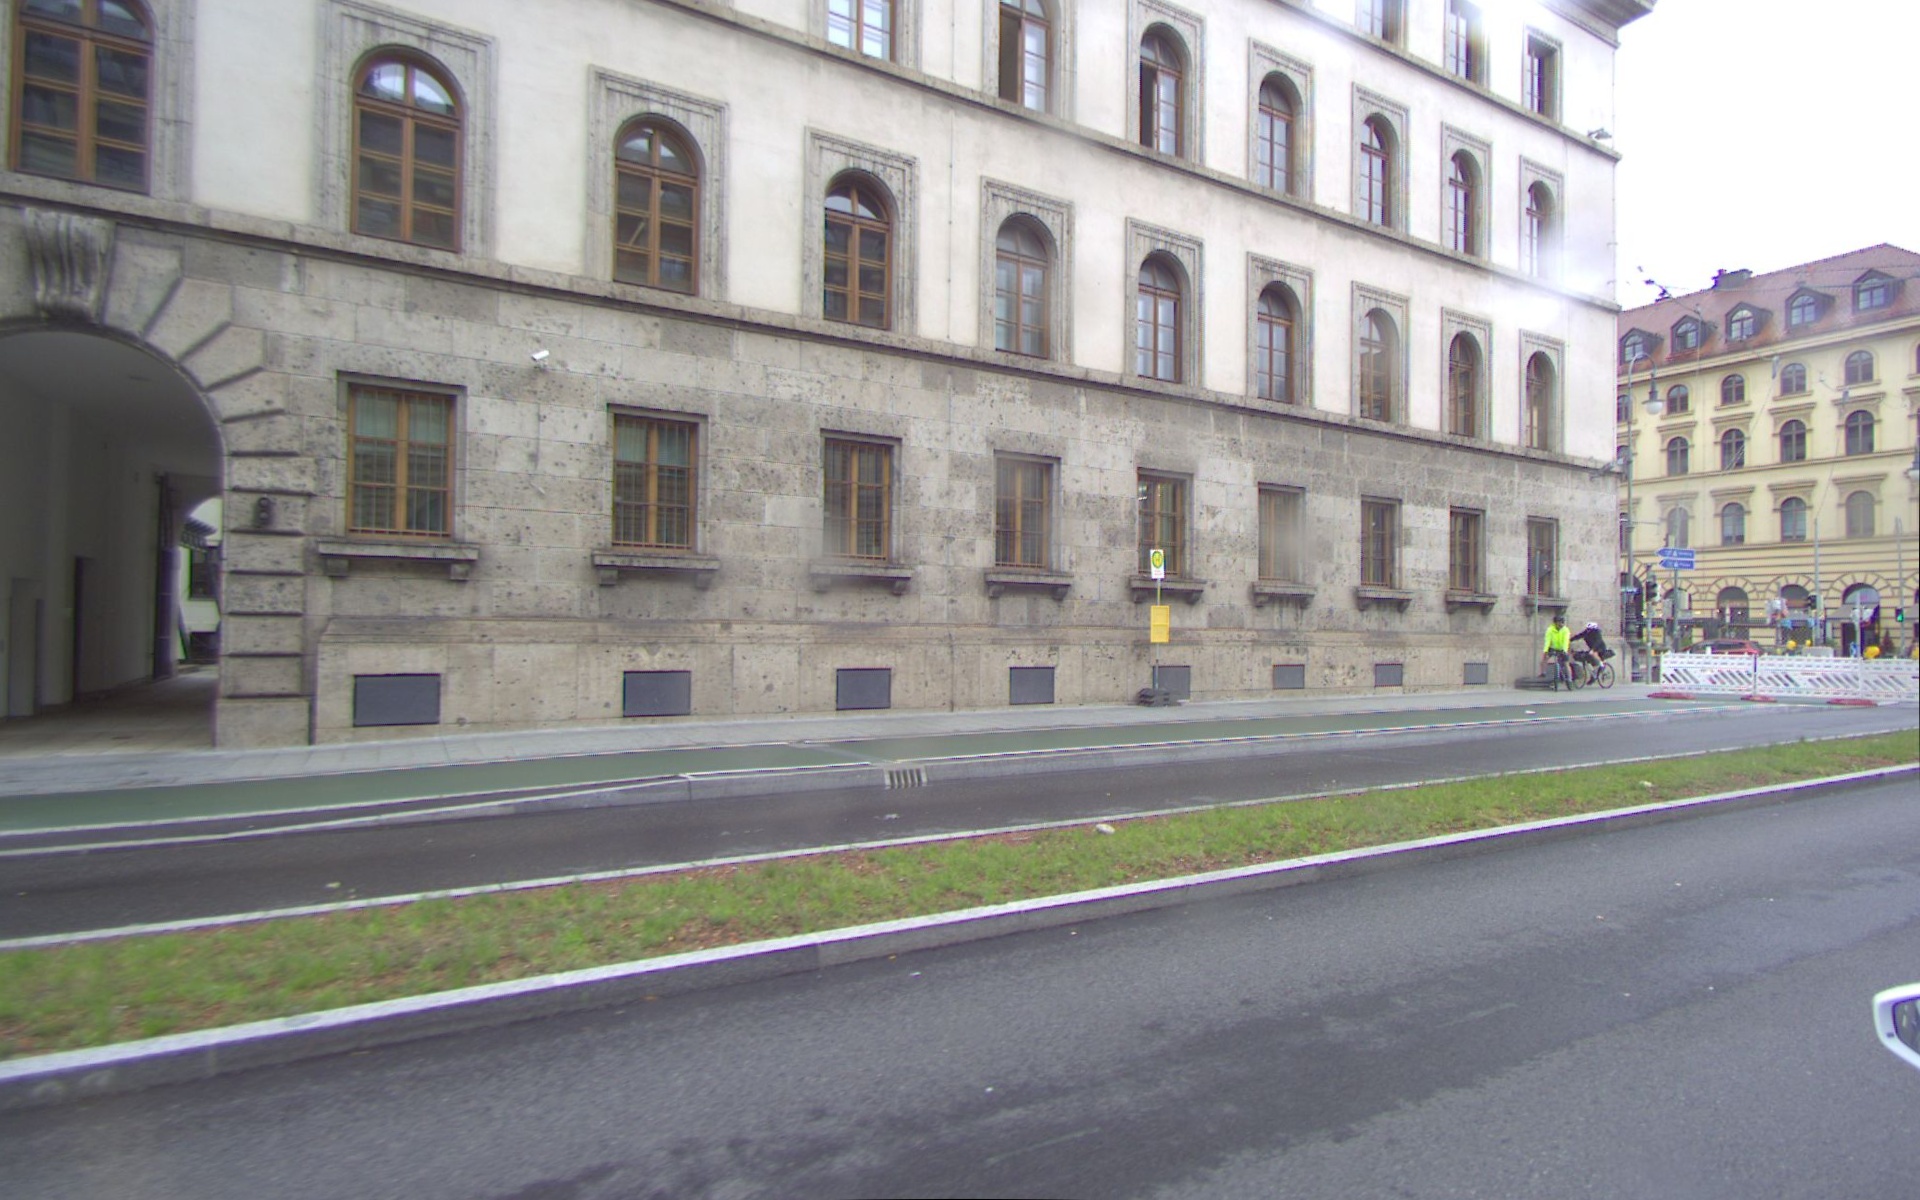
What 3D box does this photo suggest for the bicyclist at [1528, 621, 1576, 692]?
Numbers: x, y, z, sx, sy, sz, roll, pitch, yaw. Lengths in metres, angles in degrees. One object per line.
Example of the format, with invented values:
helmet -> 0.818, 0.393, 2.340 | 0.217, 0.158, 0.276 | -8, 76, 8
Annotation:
bicyclist -> 15.135, 1.431, 25.678 | 0.679, 1.772, 0.795 | 1, 0, -26

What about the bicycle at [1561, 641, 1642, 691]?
bicycle -> 17.189, 1.744, 26.907 | 2.169, 1.259, 0.784 | 1, 0, -26

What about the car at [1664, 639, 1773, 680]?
car -> 35.756, 2.781, 47.419 | 1.848, 1.822, 3.719 | 2, -2, -32

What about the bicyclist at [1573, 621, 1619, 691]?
bicyclist -> 16.971, 1.479, 26.798 | 0.679, 1.799, 0.795 | 1, 0, -26

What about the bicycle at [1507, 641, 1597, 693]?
bicycle -> 15.147, 1.695, 25.679 | 2.416, 1.259, 0.784 | 1, 0, -26

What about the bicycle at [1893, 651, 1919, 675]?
bicycle -> 45.149, 2.948, 46.944 | 2.163, 1.113, 0.598 | -1, -2, 37
